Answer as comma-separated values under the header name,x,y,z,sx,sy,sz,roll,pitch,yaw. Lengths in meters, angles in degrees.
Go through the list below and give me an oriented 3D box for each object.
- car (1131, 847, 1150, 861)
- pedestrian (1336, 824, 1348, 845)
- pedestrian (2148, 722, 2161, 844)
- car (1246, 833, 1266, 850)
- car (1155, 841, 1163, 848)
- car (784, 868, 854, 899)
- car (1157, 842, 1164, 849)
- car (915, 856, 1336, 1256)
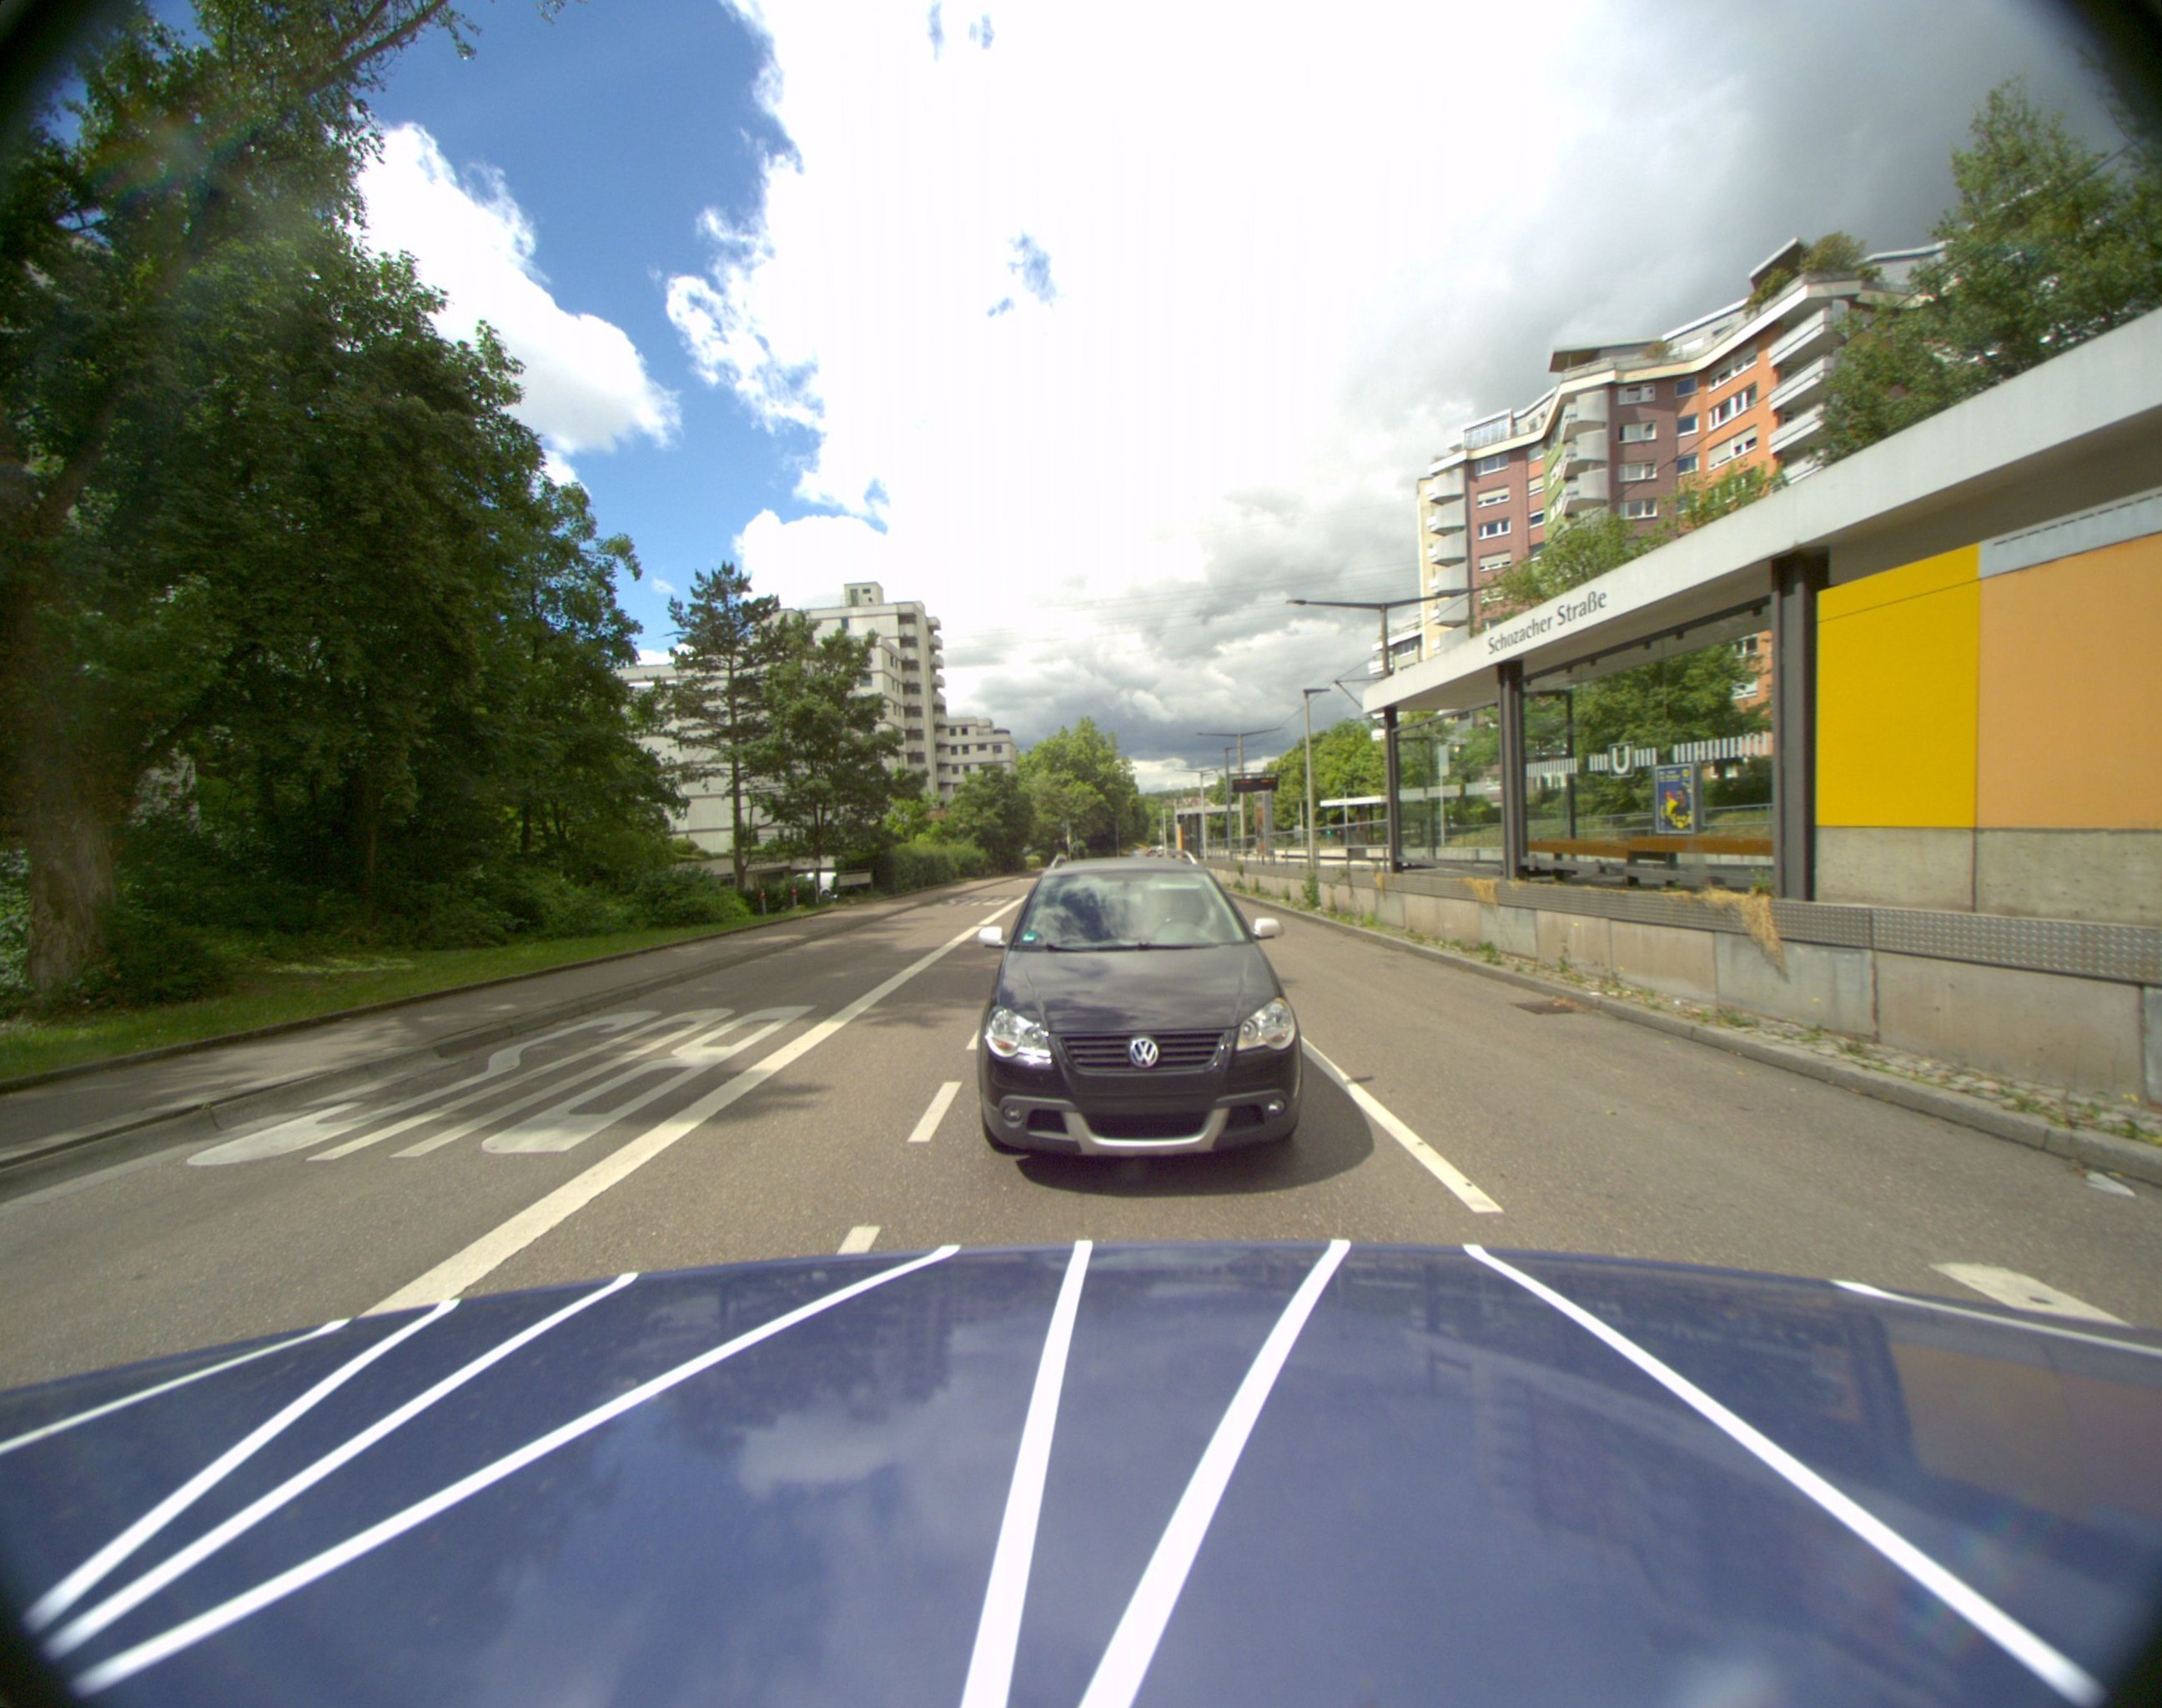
name,x,y,z,sx,sy,sz,roll,pitch,yaw
car,6.303,-0.022,80.997,1.821,1.377,4.065,-2,1,2
pedestrian,16.057,-1.175,46.696,0.536,1.270,0.562,-2,1,2
pedestrian,15.271,-0.998,10.584,0.354,1.703,0.426,-3,2,-41
car,22.149,-1.601,96.150,1.737,2.002,4.000,-2,1,2
car,16.743,-2.012,163.353,1.643,1.395,3.708,-2,1,4
car,-19.895,2.231,57.805,4.543,2.002,2.001,-2,1,7
car,22.281,-2.327,213.550,1.801,1.698,4.001,-2,1,8
car,0.281,0.839,5.075,1.641,1.521,4.000,-2,1,3
